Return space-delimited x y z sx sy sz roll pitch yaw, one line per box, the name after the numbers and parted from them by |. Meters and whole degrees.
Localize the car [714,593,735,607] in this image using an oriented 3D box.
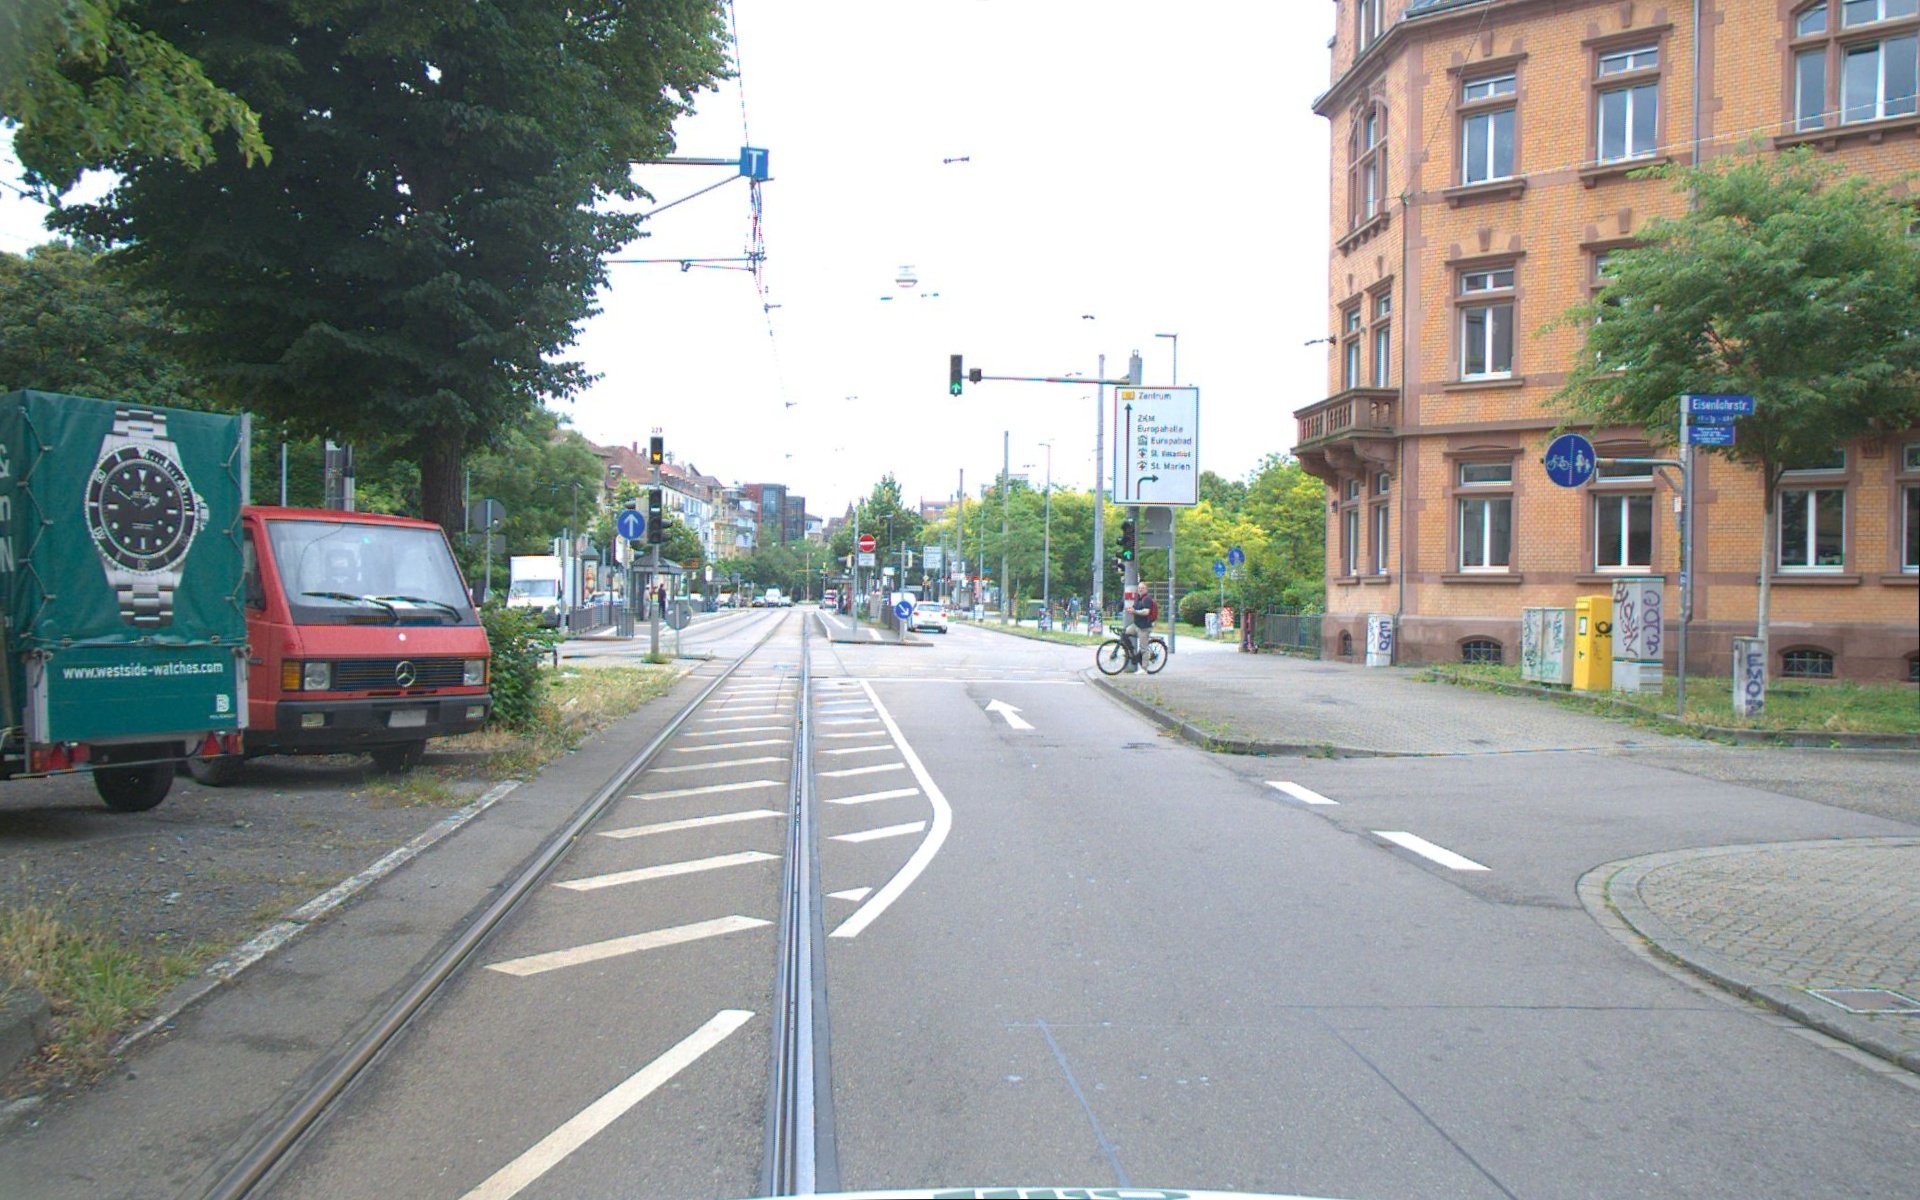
-26.052 -0.031 183.234 1.733 1.519 3.887 1 0 1 | car

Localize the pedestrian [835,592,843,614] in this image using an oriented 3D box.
-8.675 0.237 118.934 0.521 1.585 0.570 0 0 -2 | pedestrian

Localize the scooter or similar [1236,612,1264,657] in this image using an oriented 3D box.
7.657 0.895 43.671 0.369 1.161 1.197 0 0 -8 | scooter or similar

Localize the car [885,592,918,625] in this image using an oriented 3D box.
-3.672 0.526 103.837 1.748 1.997 4.377 1 0 -6 | car

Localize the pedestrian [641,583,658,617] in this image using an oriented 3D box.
-15.276 -0.007 81.391 0.754 1.689 1.023 0 0 -8 | pedestrian

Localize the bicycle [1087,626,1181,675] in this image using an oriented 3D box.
3.477 1.001 32.962 1.849 0.940 0.786 1 0 -38 | bicycle

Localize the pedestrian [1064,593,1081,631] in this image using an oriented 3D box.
5.562 0.588 81.567 0.725 1.902 0.681 0 0 -6 | pedestrian

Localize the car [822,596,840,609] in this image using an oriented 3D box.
-14.703 0.285 189.119 1.734 1.519 3.886 1 0 0 | car

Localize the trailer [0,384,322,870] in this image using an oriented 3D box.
-5.826 0.119 9.804 3.589 2.385 1.928 0 0 28 | trailer

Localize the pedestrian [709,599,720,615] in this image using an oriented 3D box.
-19.956 0.570 134.397 0.848 1.289 0.692 0 0 -8 | pedestrian

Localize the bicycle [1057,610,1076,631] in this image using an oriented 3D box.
5.252 1.022 81.546 0.641 1.020 1.777 1 0 -5 | bicycle

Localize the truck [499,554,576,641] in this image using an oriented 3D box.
-16.725 -0.075 65.828 2.144 3.212 7.317 1 0 -8 | truck

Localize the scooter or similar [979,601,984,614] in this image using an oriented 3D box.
1.910 0.652 144.848 0.368 1.161 1.200 0 0 5 | scooter or similar

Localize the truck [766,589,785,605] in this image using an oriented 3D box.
-24.468 -0.442 219.455 1.751 2.068 5.396 1 0 1 | truck

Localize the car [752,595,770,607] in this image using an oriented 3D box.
-24.995 0.138 207.472 1.733 1.519 3.887 1 0 1 | car

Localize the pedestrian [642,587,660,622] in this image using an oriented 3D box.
-14.659 0.231 78.485 0.663 1.652 0.634 0 0 12 | pedestrian

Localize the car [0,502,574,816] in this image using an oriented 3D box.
-5.335 0.360 12.693 4.668 2.009 1.954 0 0 33 | car

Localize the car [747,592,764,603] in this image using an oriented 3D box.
-27.081 -0.329 218.998 1.733 1.519 3.887 1 0 1 | car

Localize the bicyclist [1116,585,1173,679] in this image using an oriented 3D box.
3.648 0.622 32.740 0.674 1.826 0.879 1 0 -37 | bicyclist

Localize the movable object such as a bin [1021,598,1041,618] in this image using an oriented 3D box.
5.102 0.590 118.845 1.257 1.414 1.158 1 -1 -5 | movable object such as a bin

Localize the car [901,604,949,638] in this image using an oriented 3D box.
-1.673 0.968 78.094 1.749 1.498 4.002 1 0 -9 | car

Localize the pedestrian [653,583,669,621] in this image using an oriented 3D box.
-14.028 0.103 77.676 0.687 1.745 0.696 0 0 -14 | pedestrian
